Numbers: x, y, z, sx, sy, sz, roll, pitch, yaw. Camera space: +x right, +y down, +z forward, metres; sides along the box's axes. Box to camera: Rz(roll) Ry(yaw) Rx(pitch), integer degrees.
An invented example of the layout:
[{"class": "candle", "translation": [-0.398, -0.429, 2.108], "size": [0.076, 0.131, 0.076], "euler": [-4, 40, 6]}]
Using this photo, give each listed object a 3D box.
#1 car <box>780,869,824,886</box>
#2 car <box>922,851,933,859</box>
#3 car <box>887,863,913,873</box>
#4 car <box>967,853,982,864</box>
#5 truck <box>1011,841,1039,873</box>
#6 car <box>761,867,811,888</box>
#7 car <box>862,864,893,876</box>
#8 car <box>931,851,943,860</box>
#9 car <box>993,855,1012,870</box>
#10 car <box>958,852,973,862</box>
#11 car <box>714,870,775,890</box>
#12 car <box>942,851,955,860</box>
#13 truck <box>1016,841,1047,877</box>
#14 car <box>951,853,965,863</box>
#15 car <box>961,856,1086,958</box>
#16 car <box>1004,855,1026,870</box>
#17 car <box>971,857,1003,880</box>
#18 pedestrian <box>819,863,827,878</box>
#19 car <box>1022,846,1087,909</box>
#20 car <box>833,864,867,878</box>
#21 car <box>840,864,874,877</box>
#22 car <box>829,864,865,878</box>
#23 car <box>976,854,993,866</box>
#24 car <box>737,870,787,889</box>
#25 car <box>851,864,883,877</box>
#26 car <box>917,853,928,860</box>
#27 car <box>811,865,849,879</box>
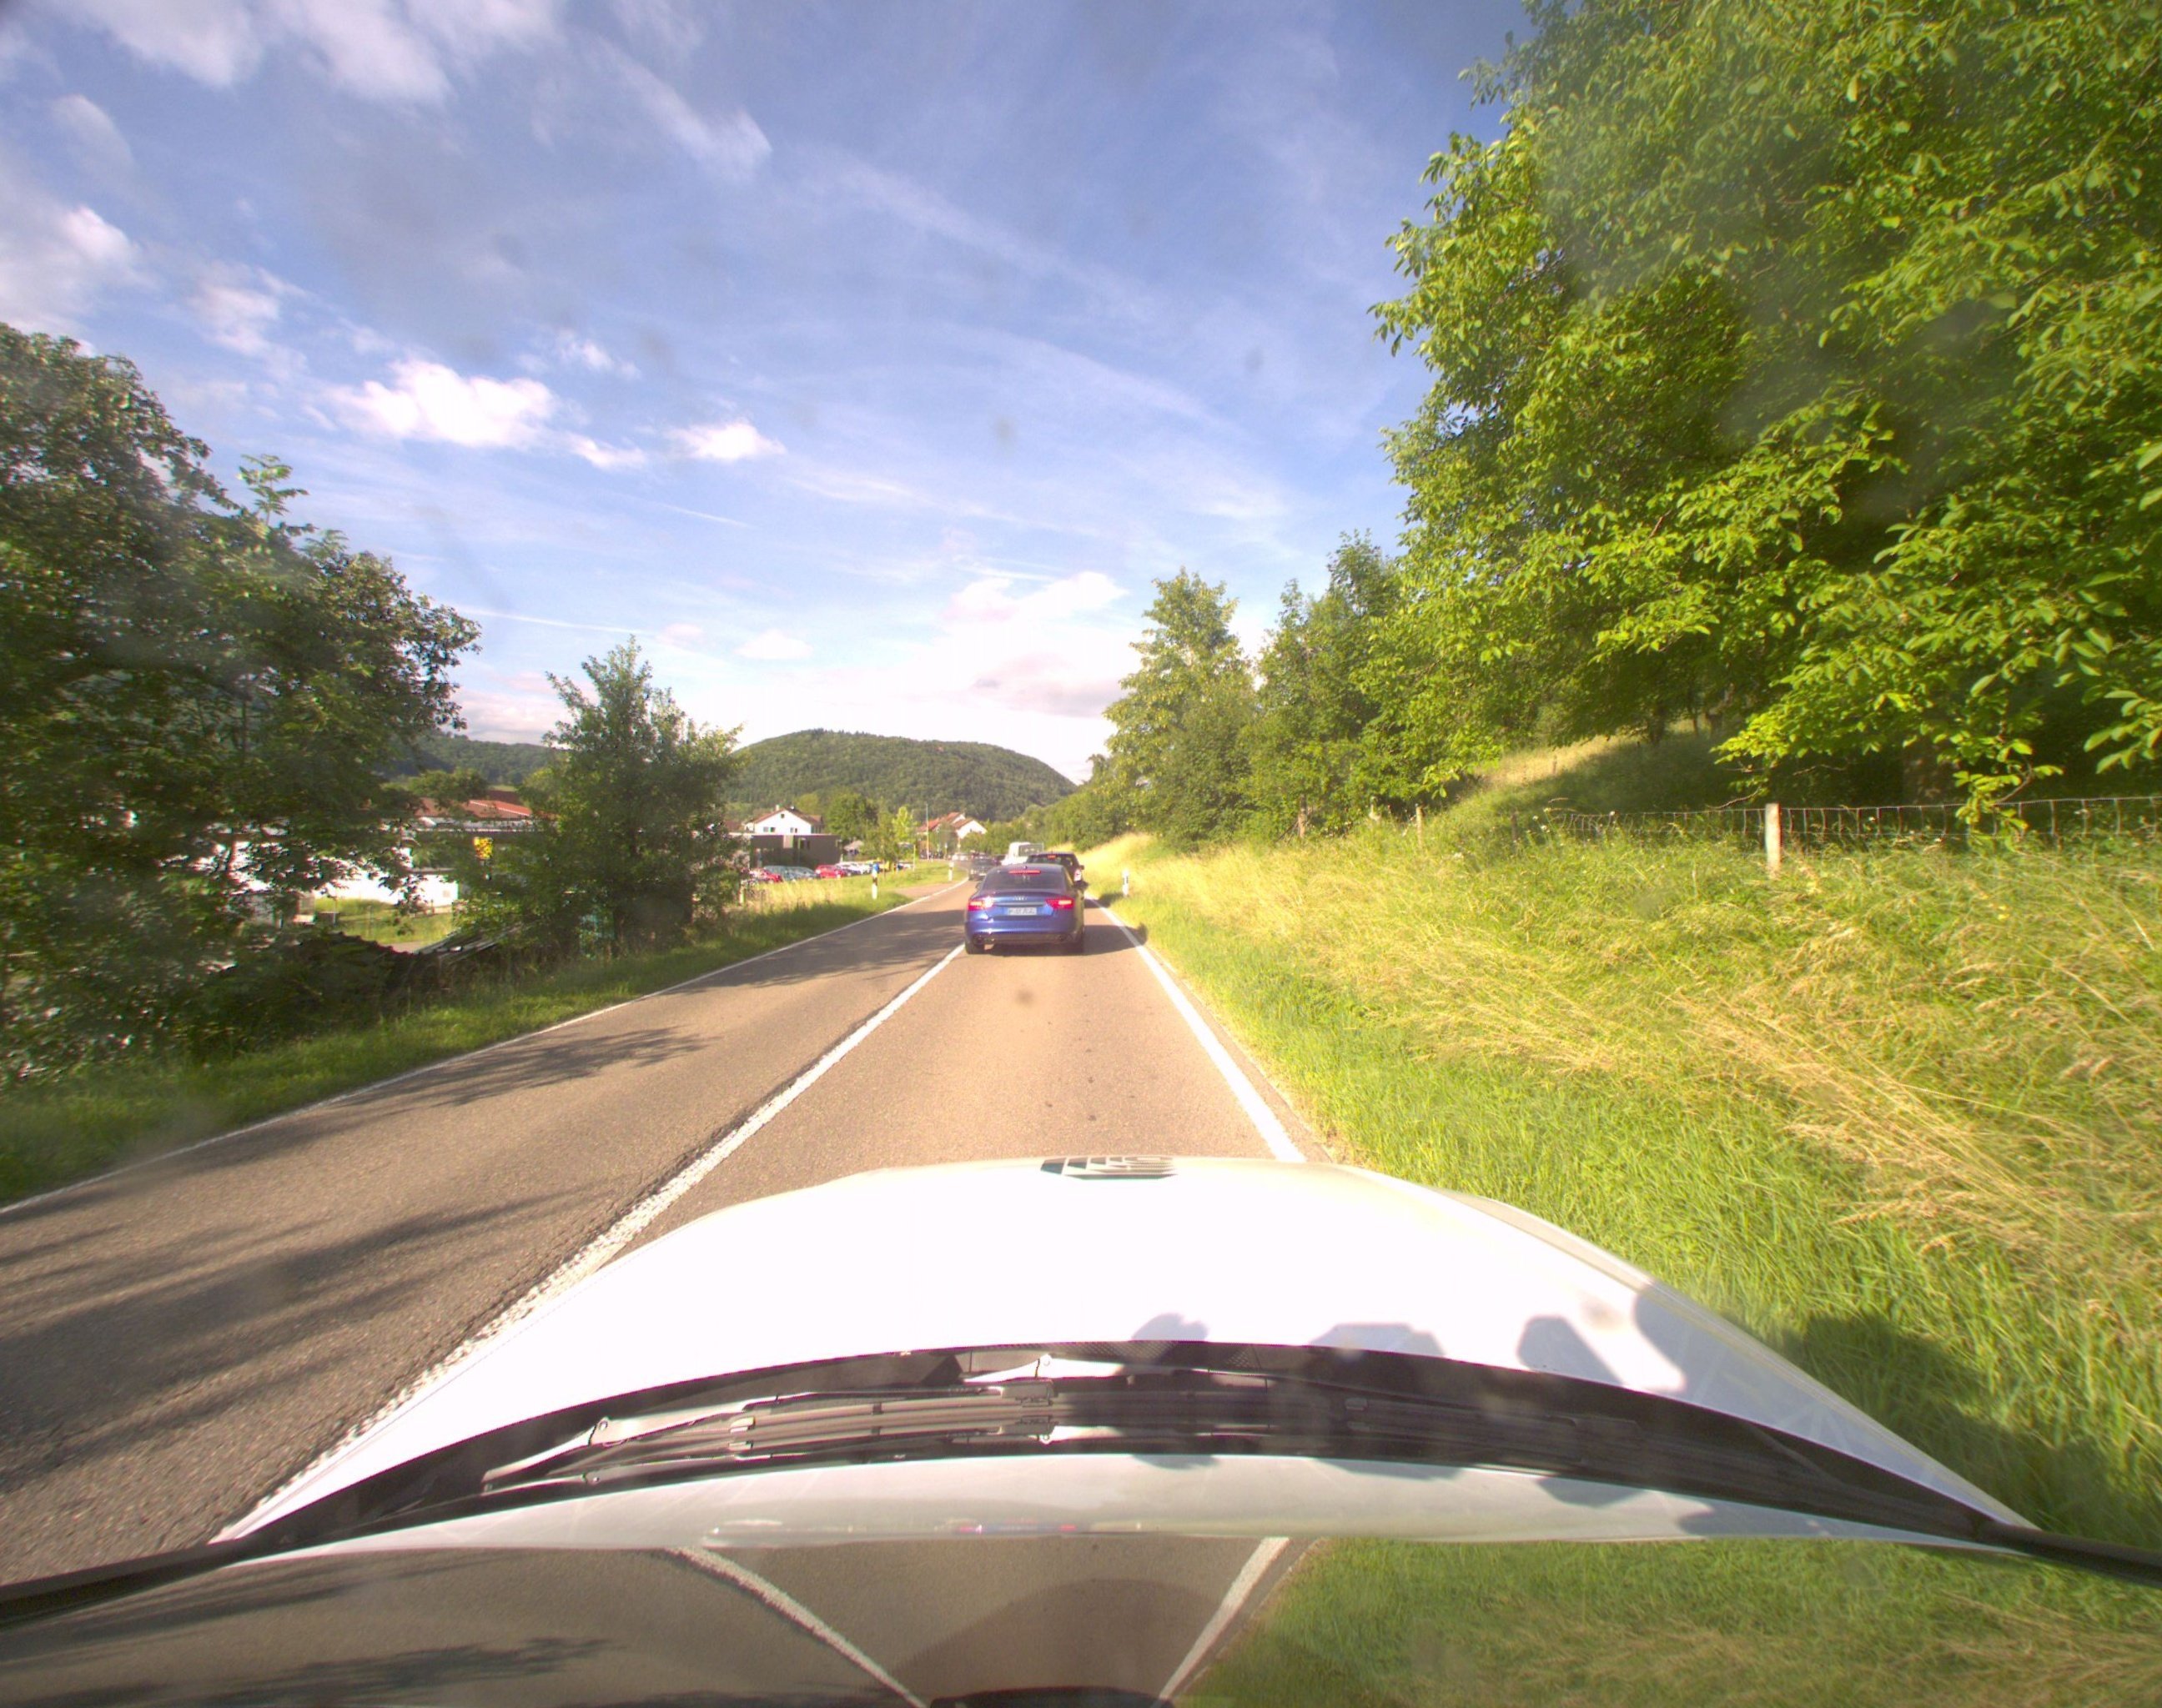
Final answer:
[{"class": "car", "translation": [-29.662, 2.450, 86.721], "size": [3.980, 1.711, 1.997], "euler": [0, -1, -5]}, {"class": "car", "translation": [-35.129, 0.238, 186.274], "size": [1.852, 1.712, 3.972], "euler": [0, -1, -20]}, {"class": "car", "translation": [-29.315, 2.204, 131.842], "size": [3.980, 1.579, 1.749], "euler": [0, -1, -5]}, {"class": "car", "translation": [-16.899, 0.771, 129.468], "size": [1.849, 1.712, 3.980], "euler": [0, -1, -15]}, {"class": "truck", "translation": [-4.830, 0.242, 69.276], "size": [2.226, 2.570, 6.695], "euler": [0, 0, -5]}, {"class": "car", "translation": [-29.906, 2.374, 82.577], "size": [4.399, 2.008, 1.996], "euler": [0, -1, -5]}, {"class": "car", "translation": [-29.297, 2.292, 117.402], "size": [3.980, 1.711, 1.997], "euler": [0, -1, -5]}, {"class": "car", "translation": [-30.730, 0.346, 173.349], "size": [1.852, 1.712, 3.972], "euler": [0, -1, -20]}, {"class": "car", "translation": [-8.816, 0.956, 91.424], "size": [1.846, 1.712, 3.986], "euler": [0, -1, -10]}, {"class": "car", "translation": [-19.710, 0.499, 138.783], "size": [1.850, 1.712, 3.976], "euler": [0, -1, -18]}, {"class": "car", "translation": [-30.313, 2.352, 73.494], "size": [4.723, 1.711, 1.996], "euler": [0, -1, -5]}, {"class": "car", "translation": [-25.865, 0.323, 159.221], "size": [1.852, 1.712, 3.972], "euler": [0, -1, -20]}, {"class": "truck", "translation": [-3.721, 0.408, 61.558], "size": [2.225, 2.570, 6.095], "euler": [0, -1, -4]}, {"class": "car", "translation": [-22.335, 0.734, 147.815], "size": [1.852, 1.712, 3.972], "euler": [0, -1, -20]}, {"class": "car", "translation": [-0.800, 0.770, 13.530], "size": [1.748, 1.430, 3.846], "euler": [0, 0, 1]}, {"class": "car", "translation": [-6.676, 0.862, 81.724], "size": [1.845, 1.482, 3.987], "euler": [0, -1, -10]}, {"class": "car", "translation": [-5.816, 0.898, 50.786], "size": [1.590, 1.354, 4.200], "euler": [0, 0, -2]}, {"class": "pedestrian", "translation": [-36.438, 2.305, 114.977], "size": [0.823, 2.014, 0.972], "euler": [0, -1, -3]}, {"class": "car", "translation": [-0.750, 0.636, 23.825], "size": [1.749, 1.681, 3.844], "euler": [0, -1, -1]}, {"class": "car", "translation": [-29.947, 2.206, 105.682], "size": [3.980, 1.711, 1.997], "euler": [0, -1, -5]}, {"class": "car", "translation": [-29.977, 2.232, 108.966], "size": [3.980, 1.711, 1.997], "euler": [0, -1, -5]}, {"class": "car", "translation": [-29.325, 2.172, 102.055], "size": [3.980, 1.711, 1.997], "euler": [0, -1, -5]}, {"class": "car", "translation": [-14.226, 0.928, 119.961], "size": [1.849, 1.712, 3.979], "euler": [0, -1, -16]}, {"class": "car", "translation": [-30.068, 2.376, 76.852], "size": [3.980, 1.711, 1.997], "euler": [0, -1, -5]}, {"class": "car", "translation": [-30.149, 2.279, 114.746], "size": [3.980, 1.711, 1.997], "euler": [0, -1, -5]}, {"class": "car", "translation": [-33.572, 0.434, 172.123], "size": [1.710, 1.430, 4.022], "euler": [0, -1, -20]}, {"class": "car", "translation": [-30.042, 2.142, 97.444], "size": [3.980, 1.711, 1.997], "euler": [0, -1, -5]}]
